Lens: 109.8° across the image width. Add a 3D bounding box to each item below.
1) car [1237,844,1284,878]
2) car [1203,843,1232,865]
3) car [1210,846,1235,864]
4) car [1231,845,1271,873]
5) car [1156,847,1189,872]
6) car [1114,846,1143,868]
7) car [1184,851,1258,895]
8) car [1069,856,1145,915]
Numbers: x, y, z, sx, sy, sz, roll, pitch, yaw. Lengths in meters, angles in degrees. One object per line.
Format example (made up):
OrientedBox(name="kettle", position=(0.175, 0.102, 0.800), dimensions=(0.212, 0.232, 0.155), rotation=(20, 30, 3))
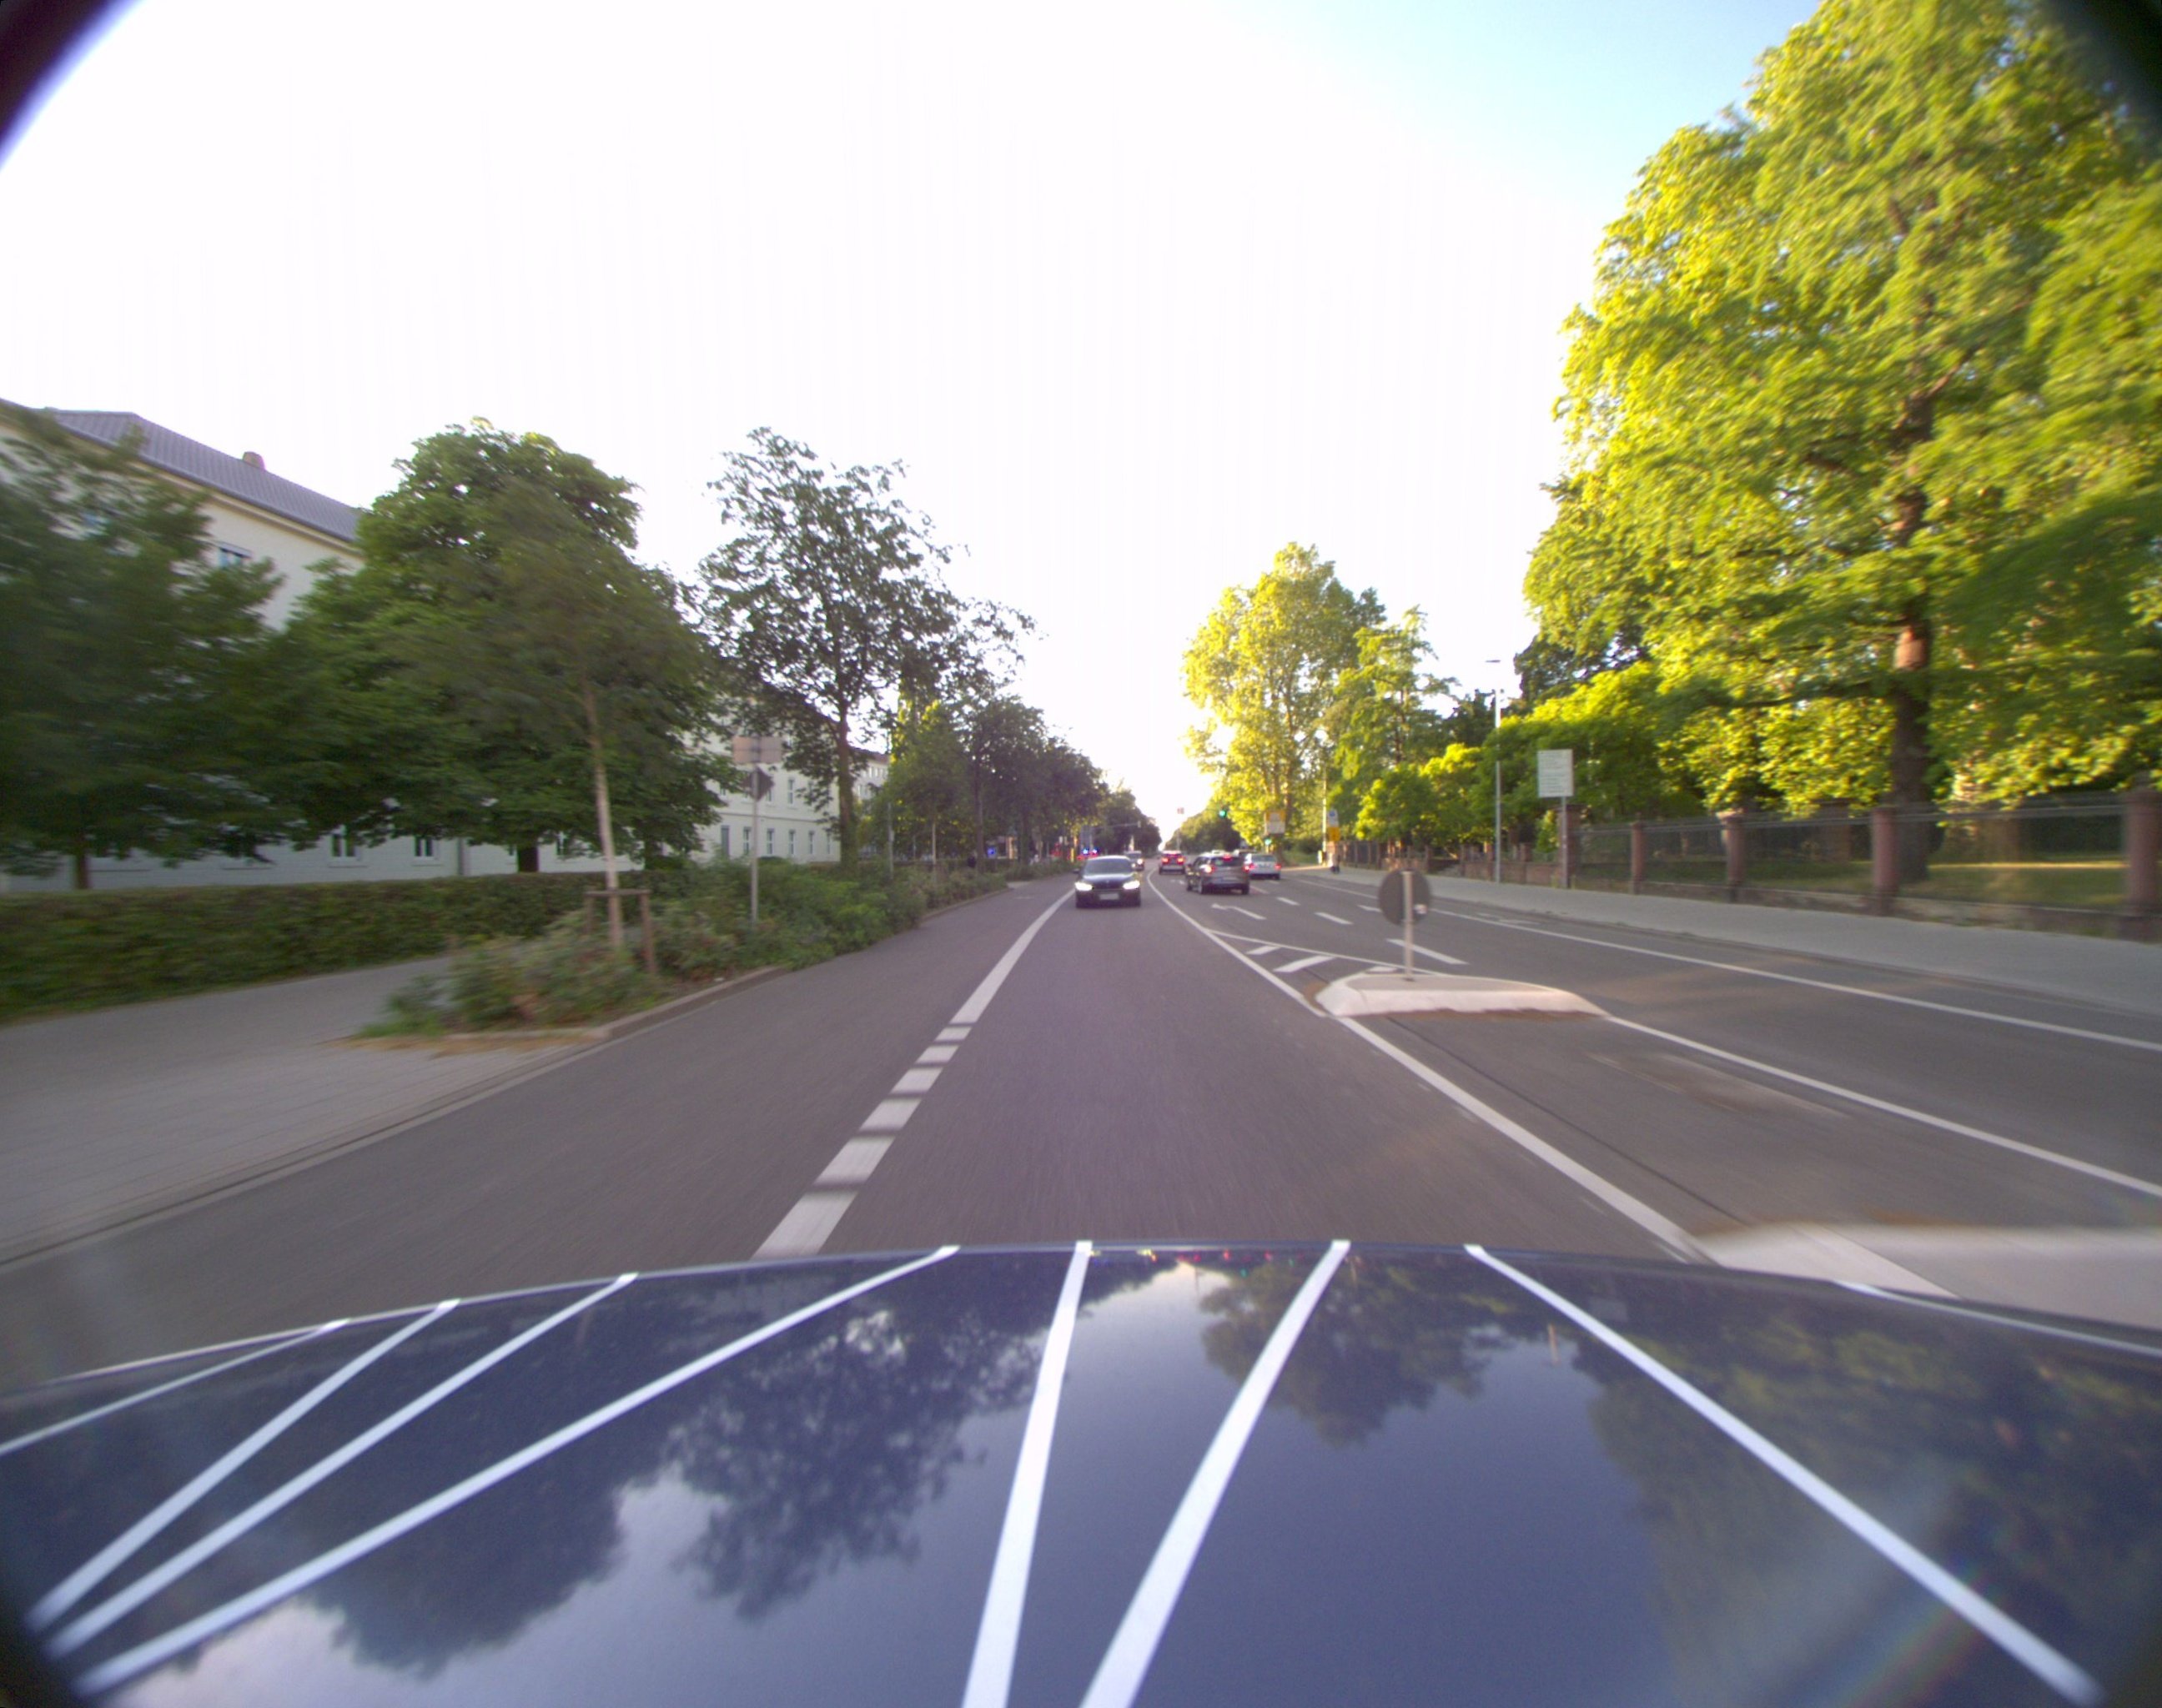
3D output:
OrientedBox(name="car", position=(9.645, 0.339, 41.052), dimensions=(1.920, 1.674, 4.001), rotation=(-1, 1, 5))
OrientedBox(name="car", position=(11.190, -0.022, 62.441), dimensions=(1.998, 1.674, 4.001), rotation=(-1, 1, 5))
OrientedBox(name="car", position=(14.060, 0.041, 75.684), dimensions=(1.998, 1.674, 4.001), rotation=(-1, 1, 5))
OrientedBox(name="car", position=(10.894, 0.282, 48.955), dimensions=(1.998, 1.674, 4.001), rotation=(-1, 1, 5))
OrientedBox(name="car", position=(6.274, 0.327, 52.292), dimensions=(1.903, 1.611, 3.895), rotation=(-1, 1, 2))
OrientedBox(name="car", position=(4.097, 0.227, 65.982), dimensions=(1.839, 1.674, 4.220), rotation=(-3, 1, -6))
OrientedBox(name="car", position=(5.028, 0.641, 27.739), dimensions=(1.776, 1.455, 3.998), rotation=(0, 1, -3))
OrientedBox(name="car", position=(0.707, 0.837, 22.277), dimensions=(1.964, 1.379, 4.780), rotation=(-2, 1, 1))
